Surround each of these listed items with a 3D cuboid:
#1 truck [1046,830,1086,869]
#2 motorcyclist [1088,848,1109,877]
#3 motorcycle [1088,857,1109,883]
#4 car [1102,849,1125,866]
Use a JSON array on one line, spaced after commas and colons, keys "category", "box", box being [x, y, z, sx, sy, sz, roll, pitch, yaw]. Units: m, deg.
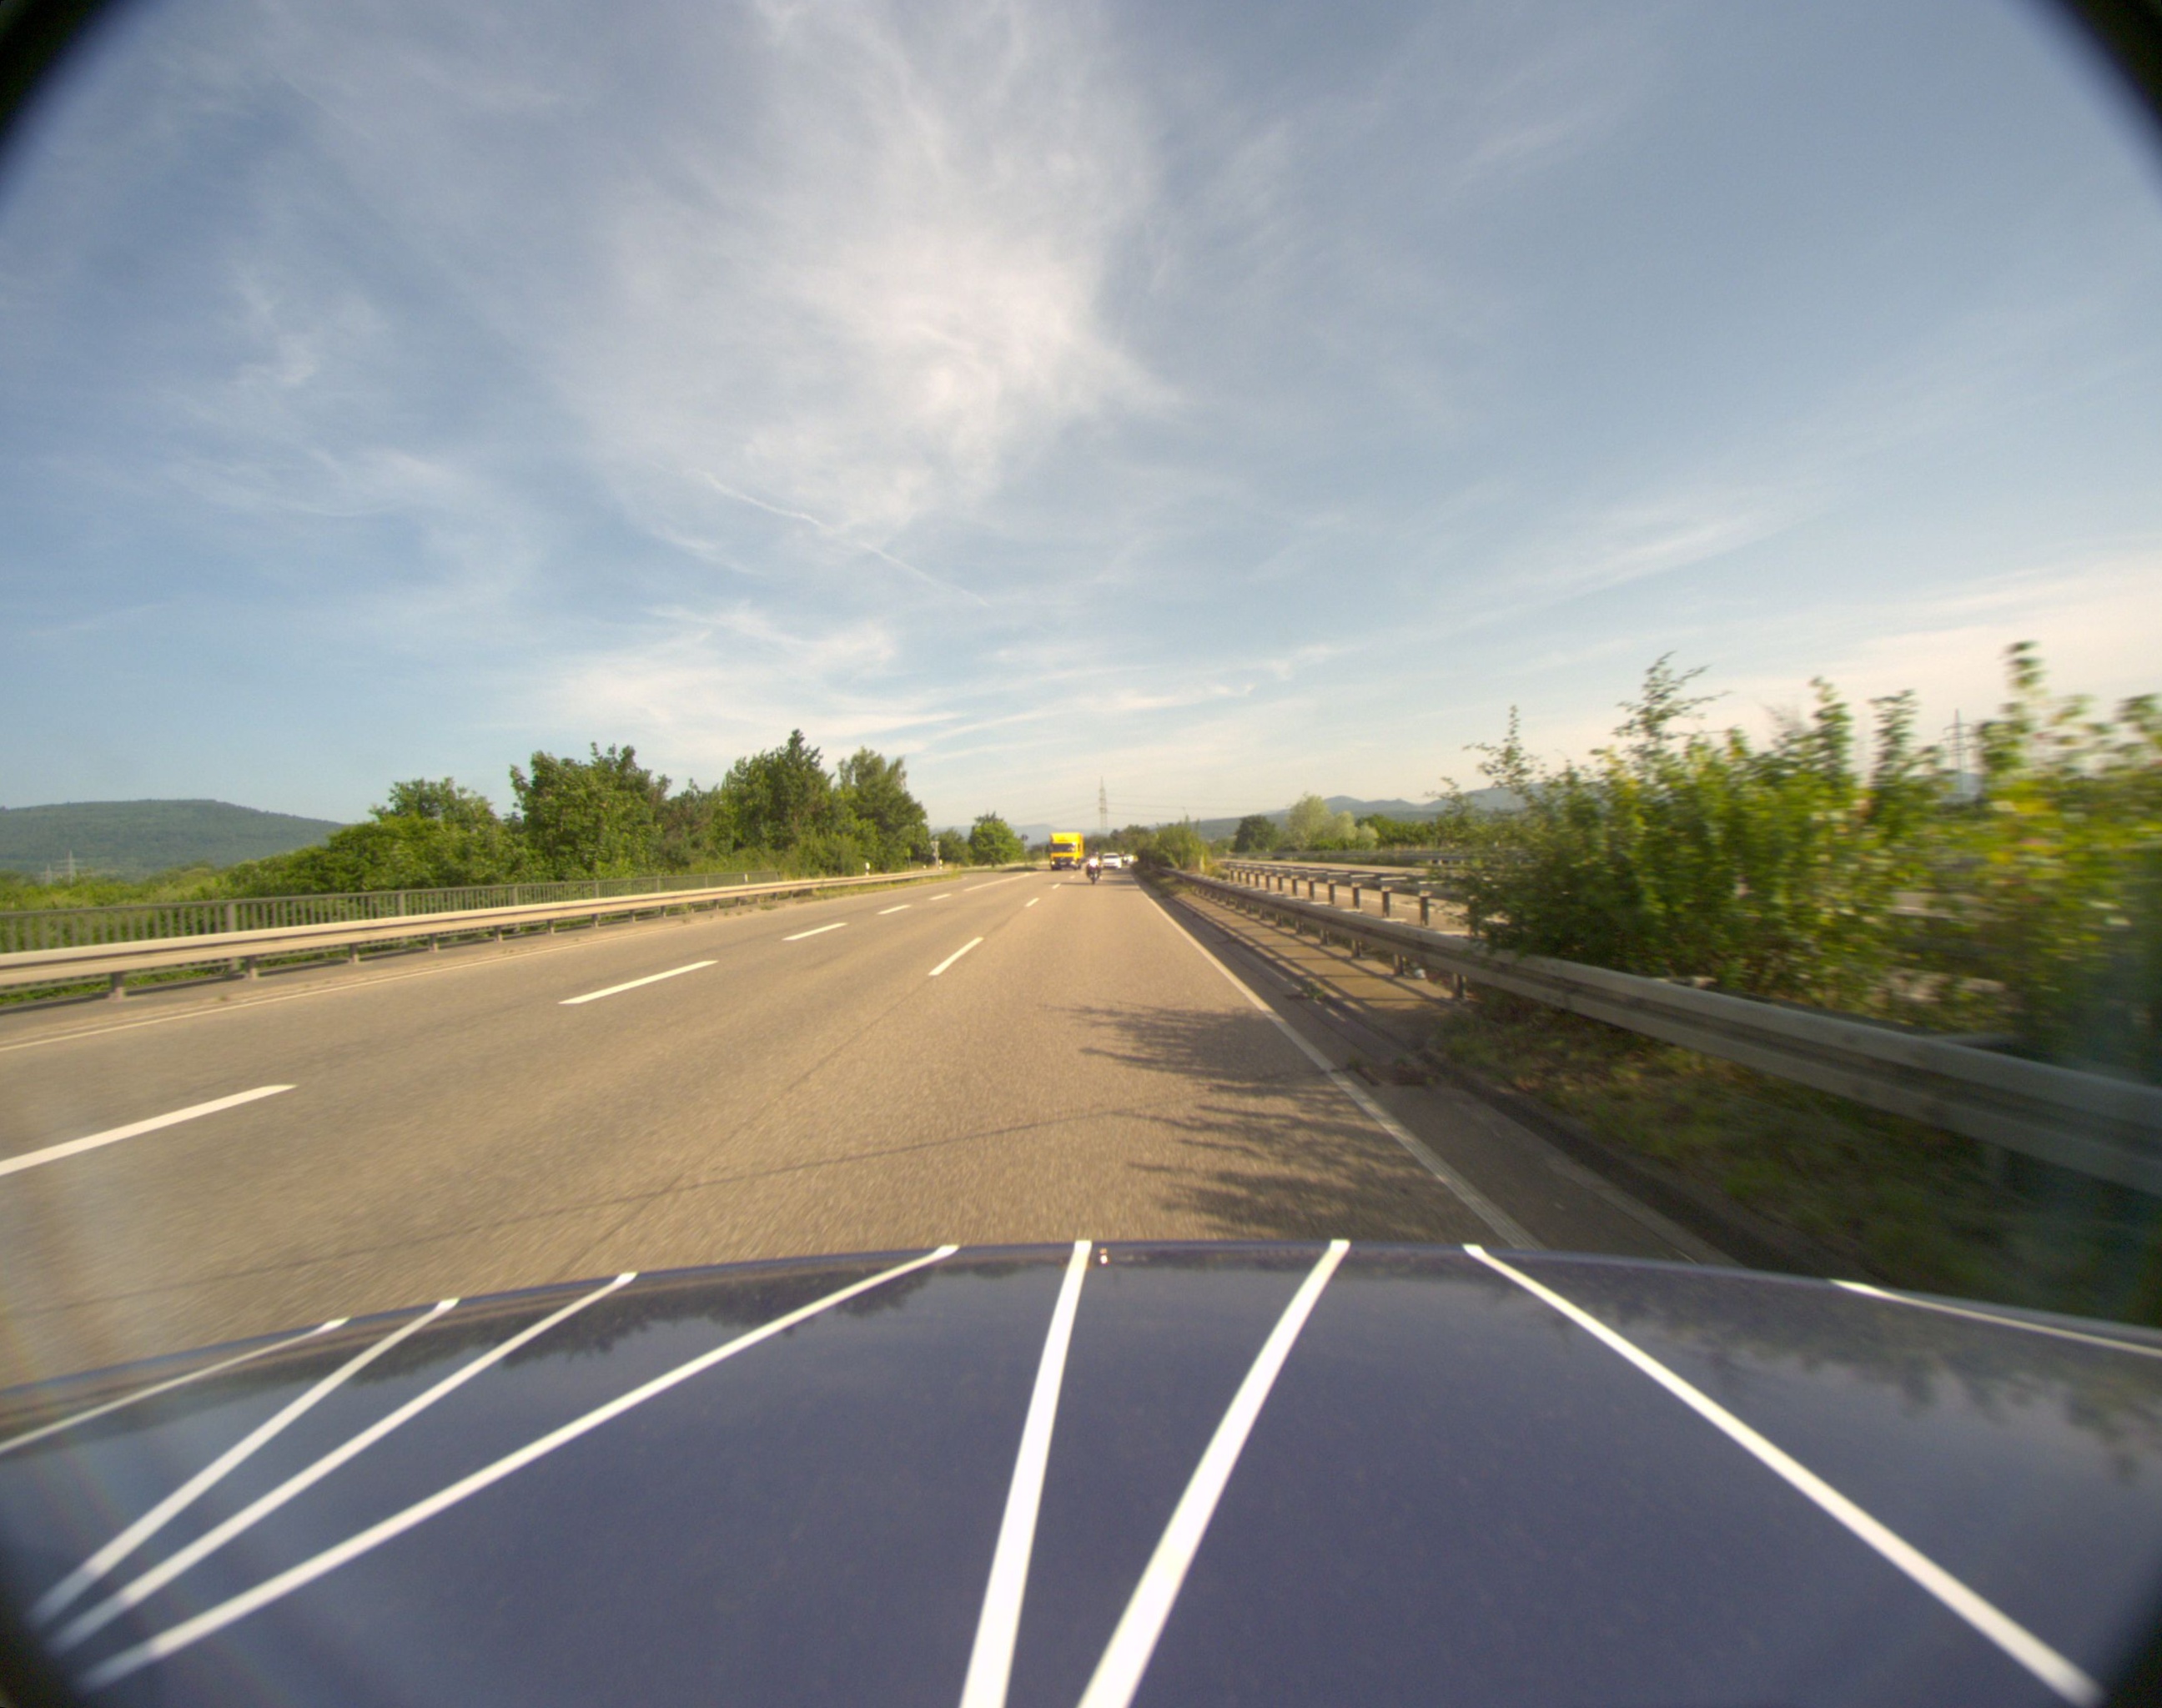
[{"category": "truck", "box": [-1.234, -0.403, 70.251, 2.785, 3.297, 10.491, -2, 0, 3]}, {"category": "motorcyclist", "box": [0.830, 0.380, 36.129, 0.937, 1.344, 1.142, -1, 1, 1]}, {"category": "motorcycle", "box": [0.840, 0.732, 36.169, 0.937, 1.132, 2.582, -1, 1, 1]}, {"category": "car", "box": [2.940, 0.314, 68.534, 1.868, 1.454, 4.085, -2, 0, 5]}]
